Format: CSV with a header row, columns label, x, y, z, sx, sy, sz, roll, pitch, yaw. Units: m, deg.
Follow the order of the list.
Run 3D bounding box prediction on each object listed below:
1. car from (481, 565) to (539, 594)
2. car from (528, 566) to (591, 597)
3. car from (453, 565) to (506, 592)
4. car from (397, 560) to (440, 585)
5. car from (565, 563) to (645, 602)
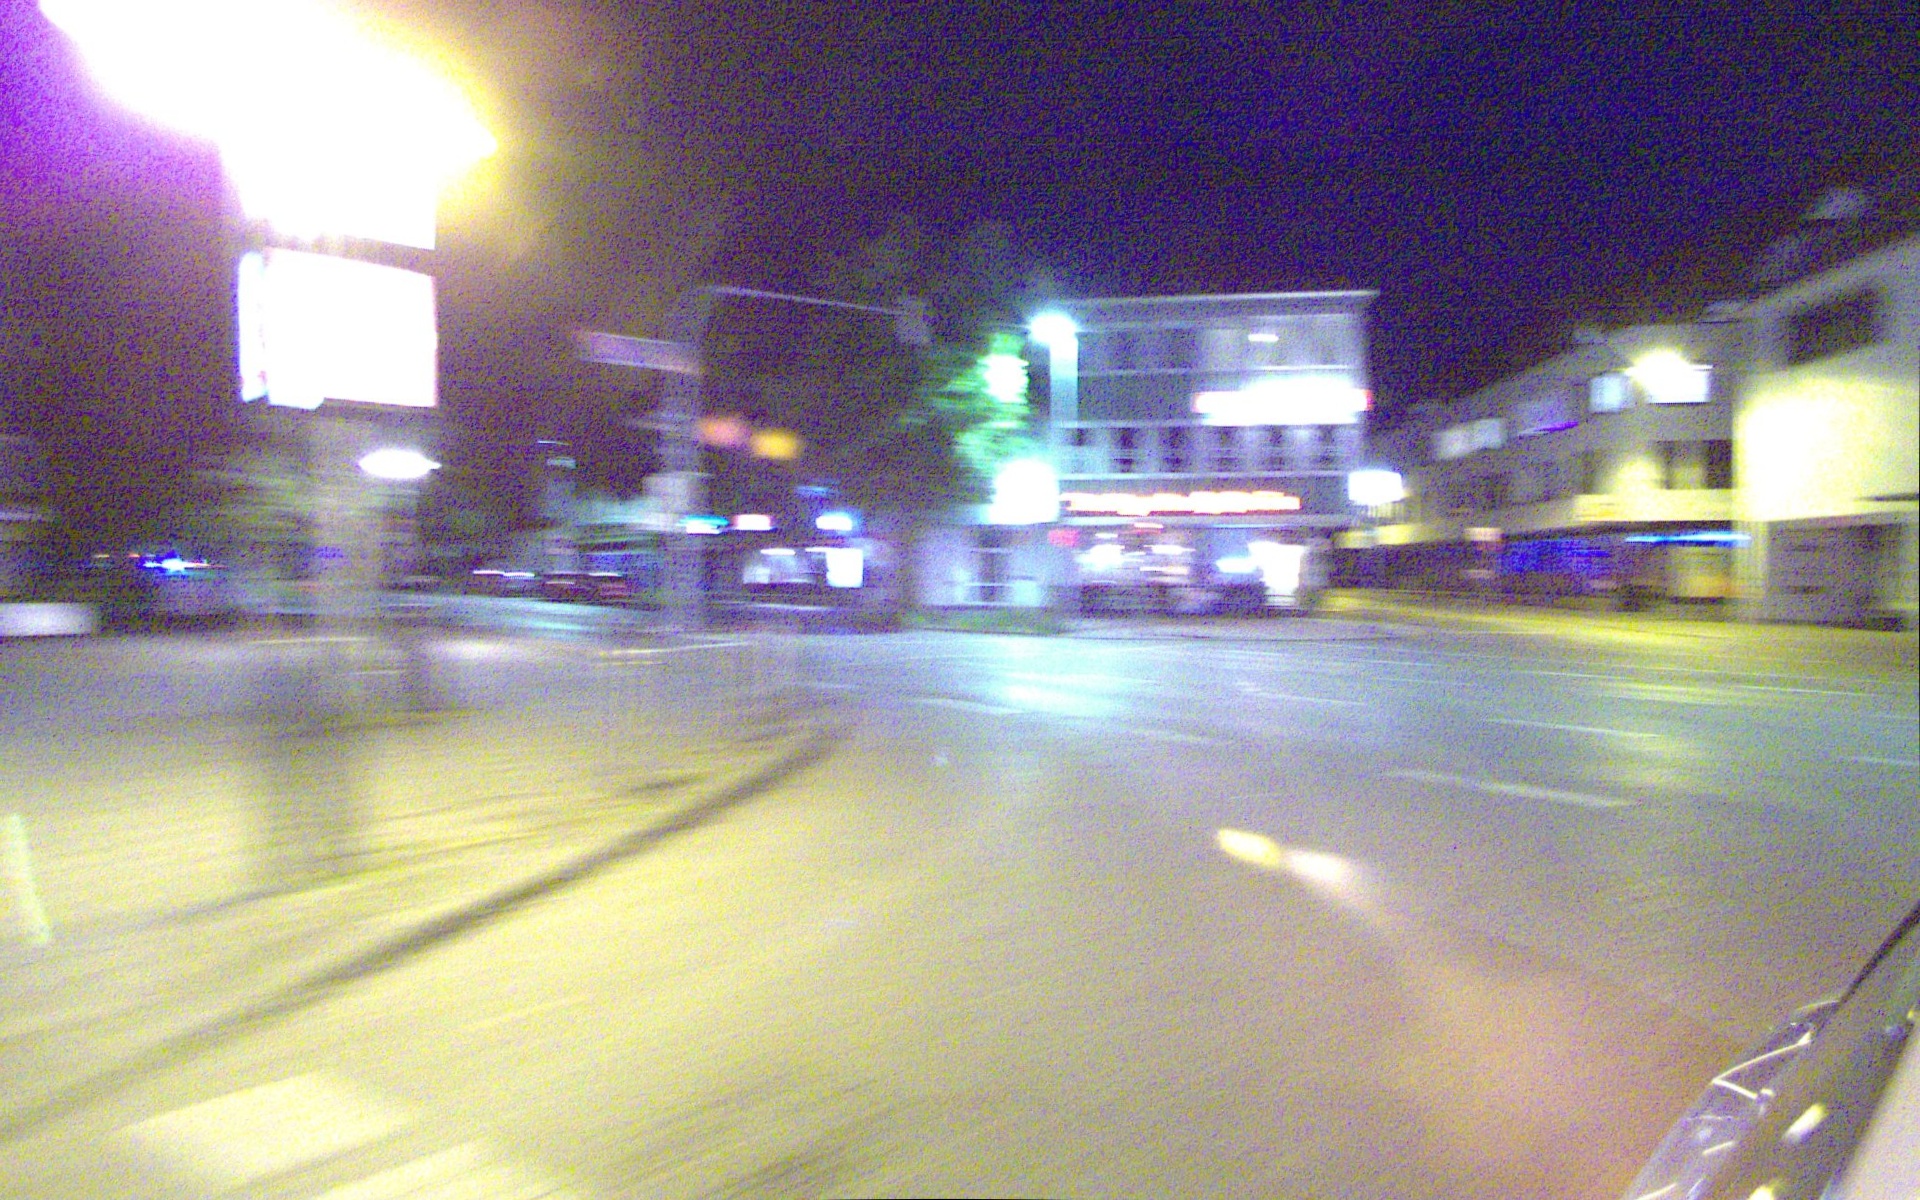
label,x,y,z,sx,sy,sz,roll,pitch,yaw
car,-24.567,-1.120,55.234,1.862,1.471,3.890,1,1,-41
car,-19.734,-0.926,49.778,1.860,1.471,3.893,1,1,-38
car,-28.088,-1.267,59.126,1.862,1.471,3.890,1,1,-41
car,-36.809,-1.869,68.754,1.976,1.646,3.893,1,1,-38
car,-16.220,-0.798,46.111,3.850,1.674,1.846,2,1,43
